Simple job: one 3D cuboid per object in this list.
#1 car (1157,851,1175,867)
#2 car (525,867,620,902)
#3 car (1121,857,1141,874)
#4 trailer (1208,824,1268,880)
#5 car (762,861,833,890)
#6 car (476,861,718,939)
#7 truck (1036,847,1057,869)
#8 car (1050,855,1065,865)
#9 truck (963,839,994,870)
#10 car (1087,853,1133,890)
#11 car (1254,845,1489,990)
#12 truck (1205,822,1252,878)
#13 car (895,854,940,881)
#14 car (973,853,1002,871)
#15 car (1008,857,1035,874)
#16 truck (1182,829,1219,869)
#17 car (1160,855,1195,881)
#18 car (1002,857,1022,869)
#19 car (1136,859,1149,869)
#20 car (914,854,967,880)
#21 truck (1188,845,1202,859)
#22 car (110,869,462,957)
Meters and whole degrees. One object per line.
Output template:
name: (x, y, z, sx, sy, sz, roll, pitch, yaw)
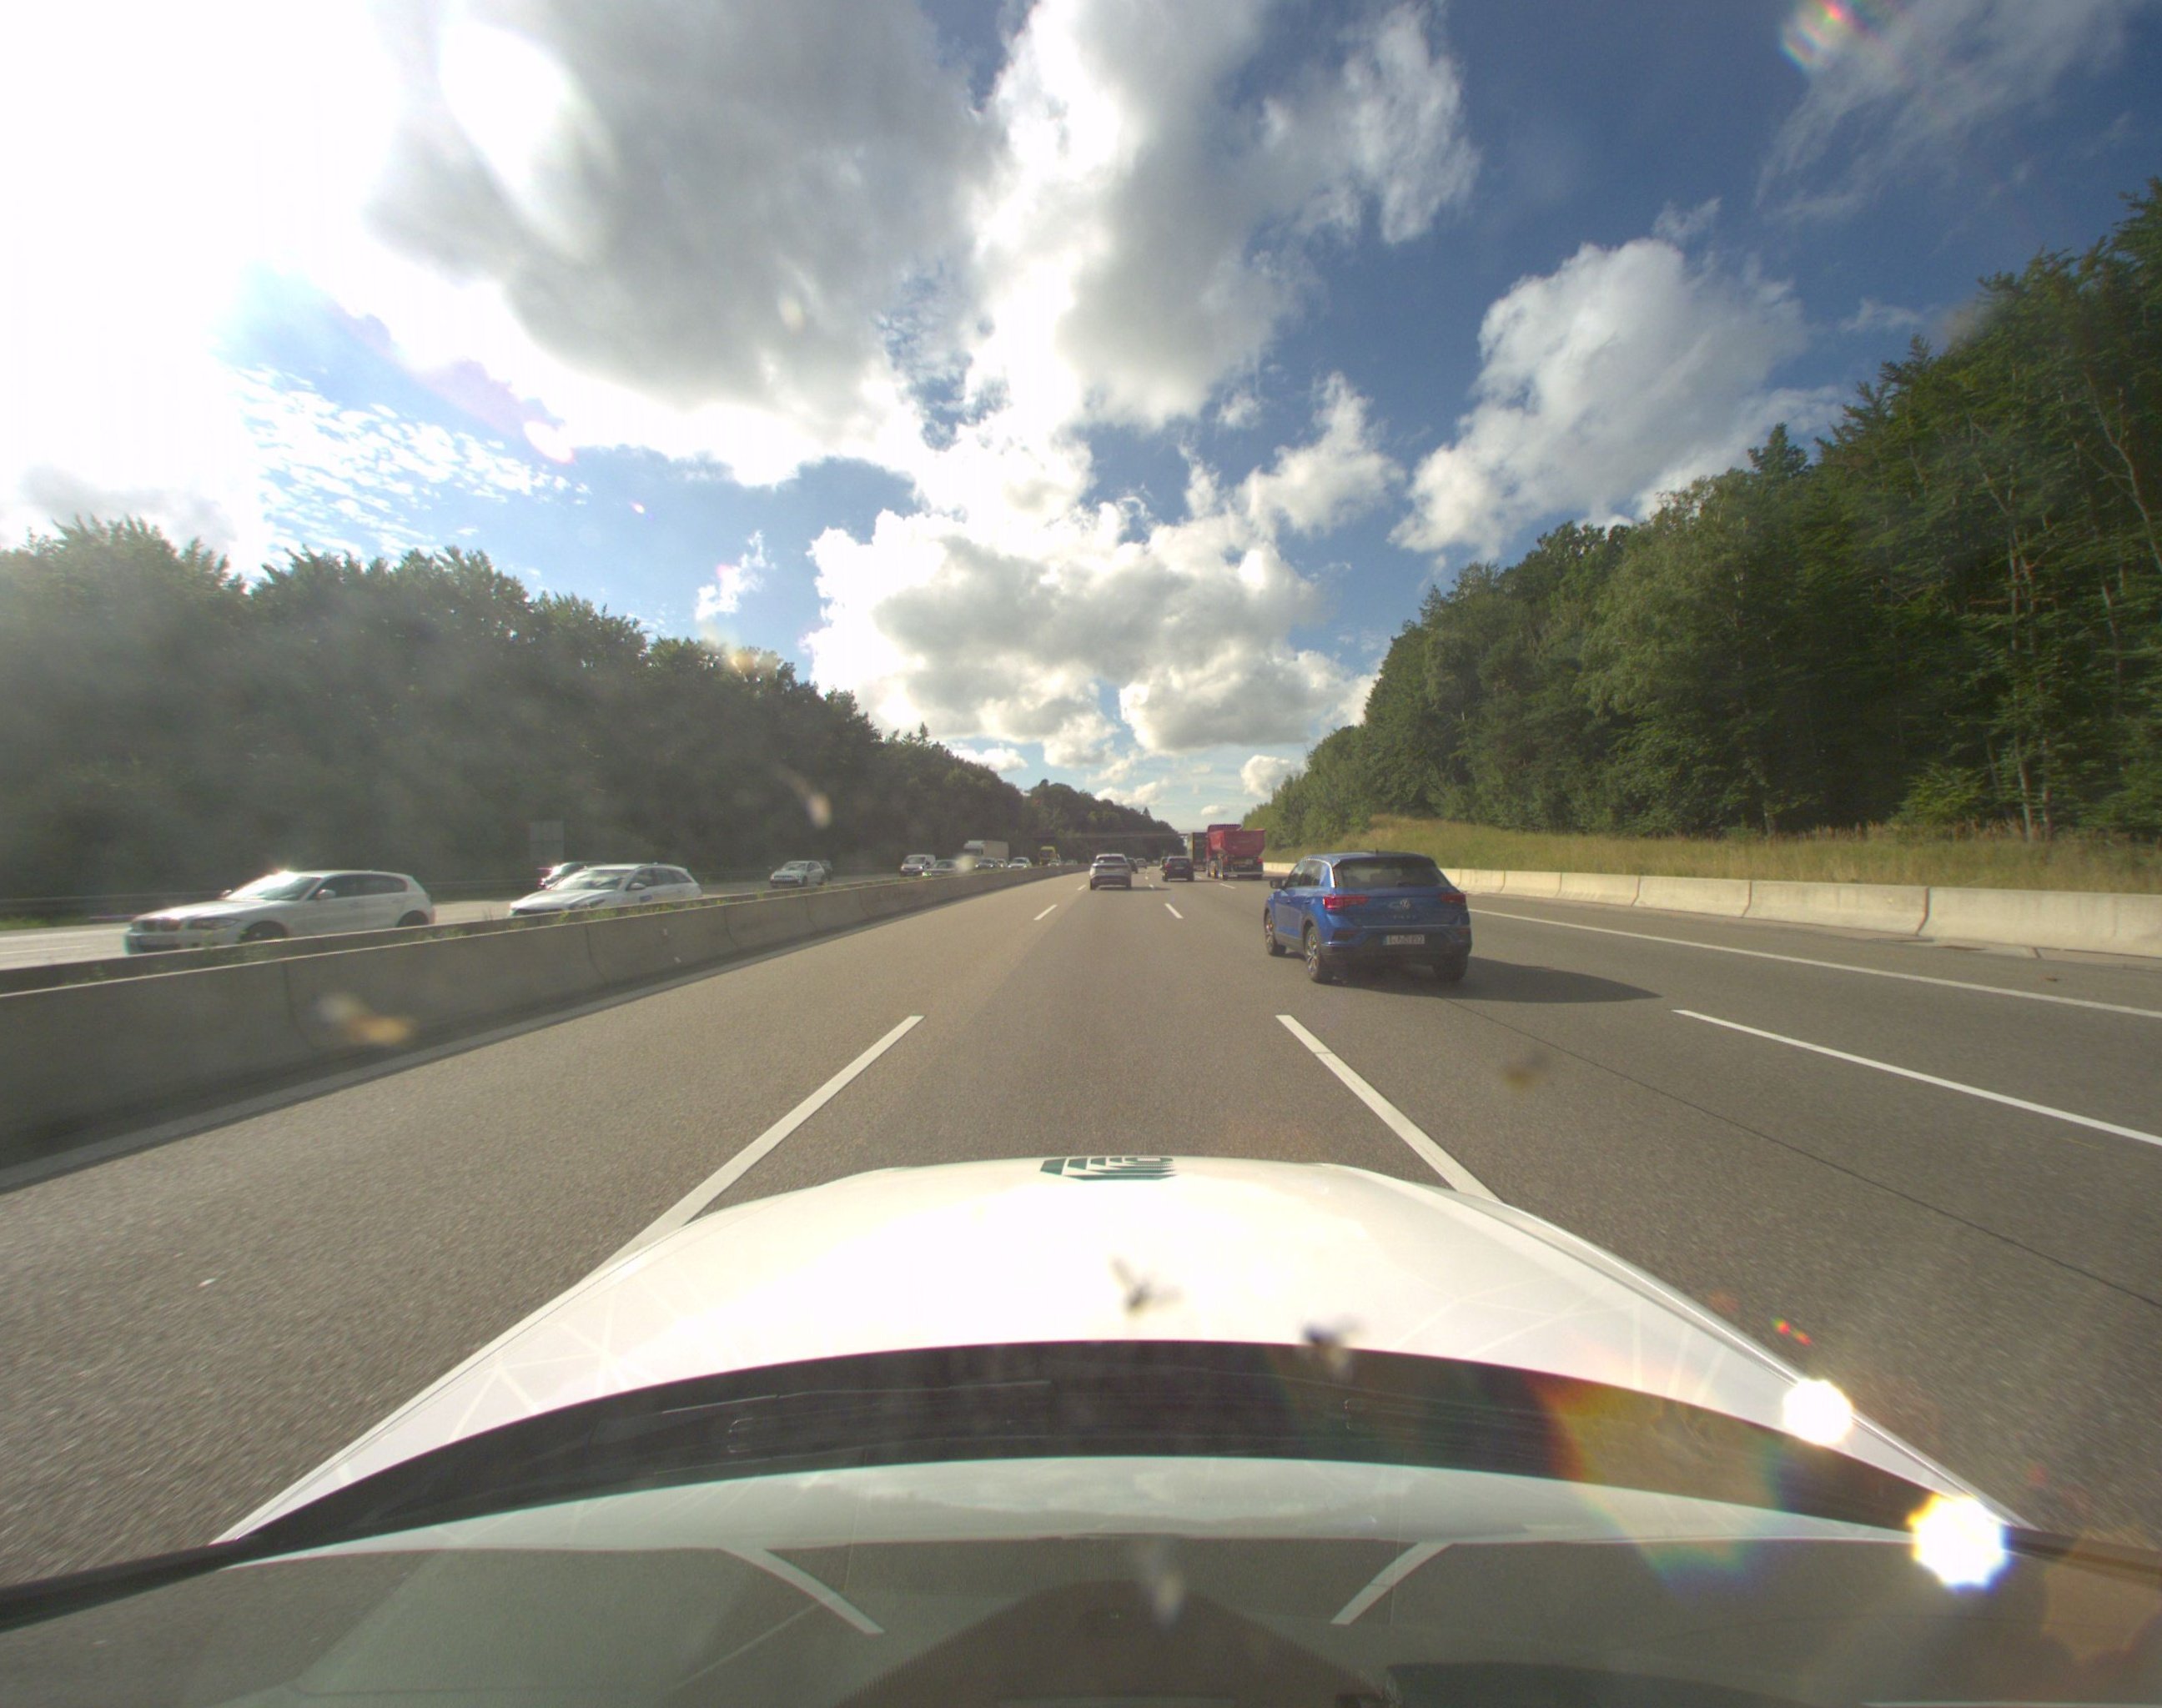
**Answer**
car: (10.189, 0.579, 97.925, 1.886, 1.857, 4.102, -1, 0, 2)
car: (-19.637, 1.158, 31.617, 1.487, 1.212, 3.273, -1, 0, 3)
car: (4.799, 1.056, 77.835, 1.813, 1.546, 4.006, 0, 0, 5)
trailer: (9.951, -0.126, 52.472, 2.697, 3.231, 9.744, -1, 0, 4)
car: (-15.555, 1.137, 45.004, 2.063, 1.473, 4.675, -1, 0, 3)
car: (-9.634, 0.831, 16.817, 1.986, 1.308, 4.834, -1, 0, 2)
truck: (-6.139, 0.694, 145.343, 2.763, 3.810, 7.144, -1, 0, 5)
car: (-3.694, 0.915, 129.290, 1.985, 1.486, 4.988, -1, 0, 4)
truck: (-13.753, 0.051, 109.543, 2.694, 4.068, 6.607, -1, 0, 5)
car: (1.384, 0.772, 38.974, 1.999, 1.616, 5.303, -1, 0, 2)
car: (3.605, 0.689, 11.016, 1.766, 1.530, 4.461, -1, 0, 3)
truck: (10.308, -0.236, 57.375, 2.697, 3.718, 5.824, -1, 0, 4)
car: (-11.532, 0.905, 57.644, 1.985, 1.837, 4.733, -1, 0, 3)
car: (-9.156, 0.802, 80.103, 1.985, 1.687, 4.683, -1, 0, 3)
car: (-5.509, 1.076, 75.890, 1.746, 1.508, 4.686, -1, 0, 5)
truck: (12.561, -0.498, 86.324, 3.105, 3.935, 10.421, -1, 0, 4)
car: (5.774, 0.800, 49.126, 1.815, 1.457, 4.002, -1, 0, 2)
car: (-8.805, 1.146, 103.609, 1.838, 1.498, 4.135, 0, 0, 5)
car: (8.947, 1.431, 119.005, 1.813, 1.457, 4.006, -1, 0, 5)
car: (-7.861, 0.682, 46.120, 1.986, 1.390, 4.751, -1, 0, 2)
truck: (23.638, -0.385, 169.380, 2.829, 2.925, 8.404, -1, -1, 8)
car: (-13.484, 0.915, 14.293, 1.640, 1.200, 4.444, -1, 0, 3)
